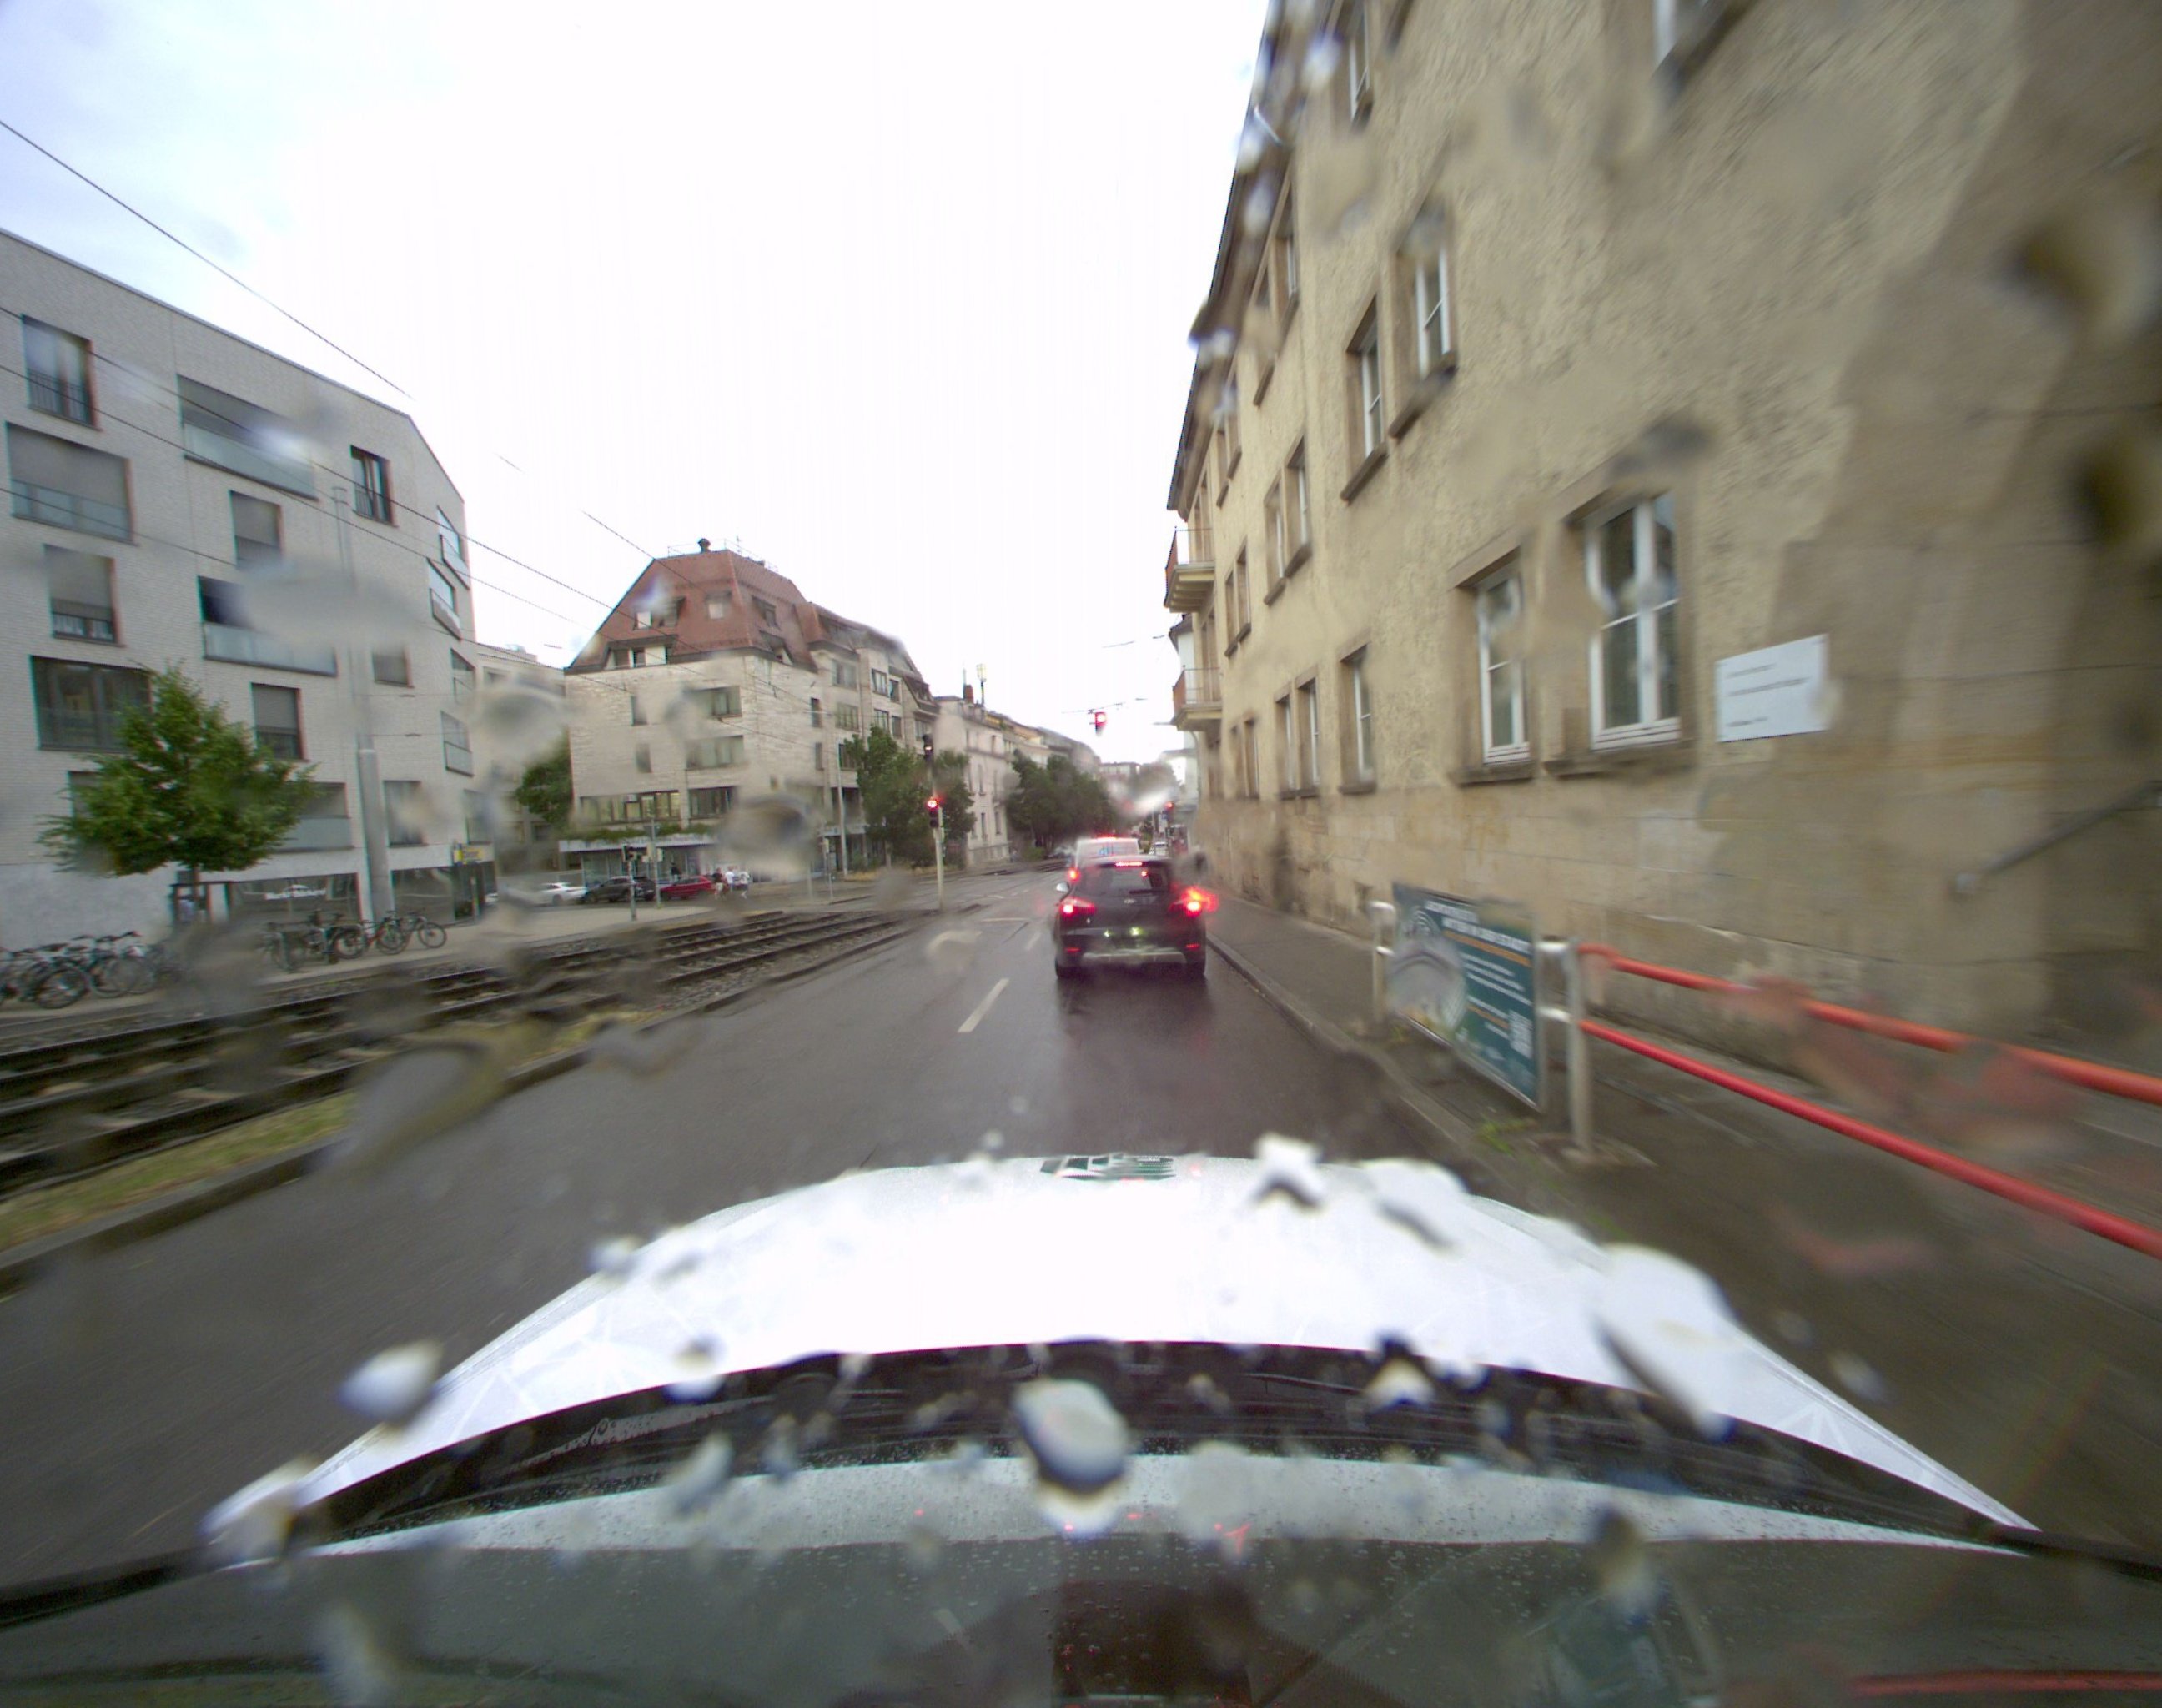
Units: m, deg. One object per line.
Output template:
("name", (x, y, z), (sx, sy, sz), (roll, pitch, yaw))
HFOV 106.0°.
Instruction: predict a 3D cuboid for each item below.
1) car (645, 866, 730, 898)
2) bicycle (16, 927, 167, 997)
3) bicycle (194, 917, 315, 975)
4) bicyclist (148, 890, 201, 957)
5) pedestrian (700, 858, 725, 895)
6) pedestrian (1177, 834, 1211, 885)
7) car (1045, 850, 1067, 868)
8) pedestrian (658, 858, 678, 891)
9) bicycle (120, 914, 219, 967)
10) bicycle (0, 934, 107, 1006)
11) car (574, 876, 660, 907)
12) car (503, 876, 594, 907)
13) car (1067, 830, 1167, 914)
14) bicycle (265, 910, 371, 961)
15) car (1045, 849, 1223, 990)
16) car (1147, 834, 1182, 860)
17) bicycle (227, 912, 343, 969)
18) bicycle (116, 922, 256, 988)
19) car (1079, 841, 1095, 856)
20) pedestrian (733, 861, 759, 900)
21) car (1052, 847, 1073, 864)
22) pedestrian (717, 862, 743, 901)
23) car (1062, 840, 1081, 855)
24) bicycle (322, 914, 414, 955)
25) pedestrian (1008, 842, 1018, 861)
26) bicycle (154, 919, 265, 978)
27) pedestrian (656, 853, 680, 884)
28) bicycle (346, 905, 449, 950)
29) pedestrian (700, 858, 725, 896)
("car", (-22.931, 1.613, 47.526), (4.107, 1.568, 1.829), (-3, 0, 10))
("bicycle", (-17.324, 1.883, 14.288), (1.796, 1.064, 0.456), (-2, 0, -10))
("bicycle", (-17.572, 1.946, 17.342), (1.798, 1.064, 0.455), (-2, 0, -13))
("bicyclist", (-22.138, 1.680, 19.906), (0.460, 1.574, 0.701), (-2, 0, -4))
("pedestrian", (-20.747, 1.280, 45.898), (0.939, 2.013, 0.764), (-3, 0, -2))
("pedestrian", (4.179, 0.205, 30.207), (1.041, 1.795, 0.902), (-3, 0, 0))
("car", (-2.999, 0.558, 97.713), (1.983, 2.013, 4.008), (-3, 0, 7))
("pedestrian", (-26.338, 1.309, 51.975), (0.790, 2.013, 0.706), (-3, 0, 9))
("bicycle", (-22.113, 2.071, 19.813), (0.455, 1.064, 1.800), (-2, 0, -4))
("bicycle", (-17.279, 1.916, 13.386), (1.794, 1.064, 0.456), (-2, 0, -6))
("car", (-27.653, 2.233, 48.586), (4.107, 1.568, 1.829), (-3, 0, 10))
("car", (-32.269, 2.286, 49.365), (4.431, 1.568, 1.914), (-3, 0, 10))
("car", (0.818, 0.384, 20.412), (2.130, 1.745, 4.218), (-4, 1, 0))
("bicycle", (-18.162, 1.935, 19.416), (1.797, 1.064, 0.567), (-2, 0, -11))
("car", (0.584, 0.710, 10.927), (1.914, 1.479, 3.999), (-2, 0, 0))
("car", (6.148, -0.547, 59.789), (1.980, 1.772, 4.014), (-3, 0, 13))
("bicycle", (-17.766, 1.916, 18.214), (1.802, 1.108, 0.453), (-2, 0, -18))
("bicycle", (-16.864, 1.890, 15.374), (1.798, 1.064, 0.455), (-2, 0, -13))
("car", (0.918, -0.836, 121.649), (1.983, 2.013, 4.008), (-3, 0, 7))
("pedestrian", (-18.040, 1.437, 43.890), (0.938, 2.013, 0.765), (-3, 0, 2))
("car", (-2.346, 0.234, 104.093), (1.983, 2.013, 4.008), (-3, 0, 7))
("pedestrian", (-19.023, 1.491, 44.132), (0.939, 2.013, 0.764), (-3, 0, -2))
("car", (-1.238, -0.888, 110.301), (1.983, 2.013, 4.008), (-3, 0, 7))
("bicycle", (-17.663, 1.983, 20.204), (1.649, 0.866, 0.567), (-2, 0, -9))
("pedestrian", (-7.358, -0.259, 88.381), (0.941, 2.013, 0.763), (-3, 0, -8))
("bicycle", (-17.455, 1.888, 16.324), (1.760, 1.071, 0.486), (-2, 0, 4))
("pedestrian", (-26.912, 0.956, 53.069), (0.901, 1.931, 0.826), (-4, 1, 1))
("bicycle", (-17.846, 1.916, 21.311), (1.947, 1.028, 0.719), (-2, 0, -7))
("pedestrian", (-20.037, 1.235, 44.322), (0.939, 2.013, 0.764), (-3, 0, -2))
